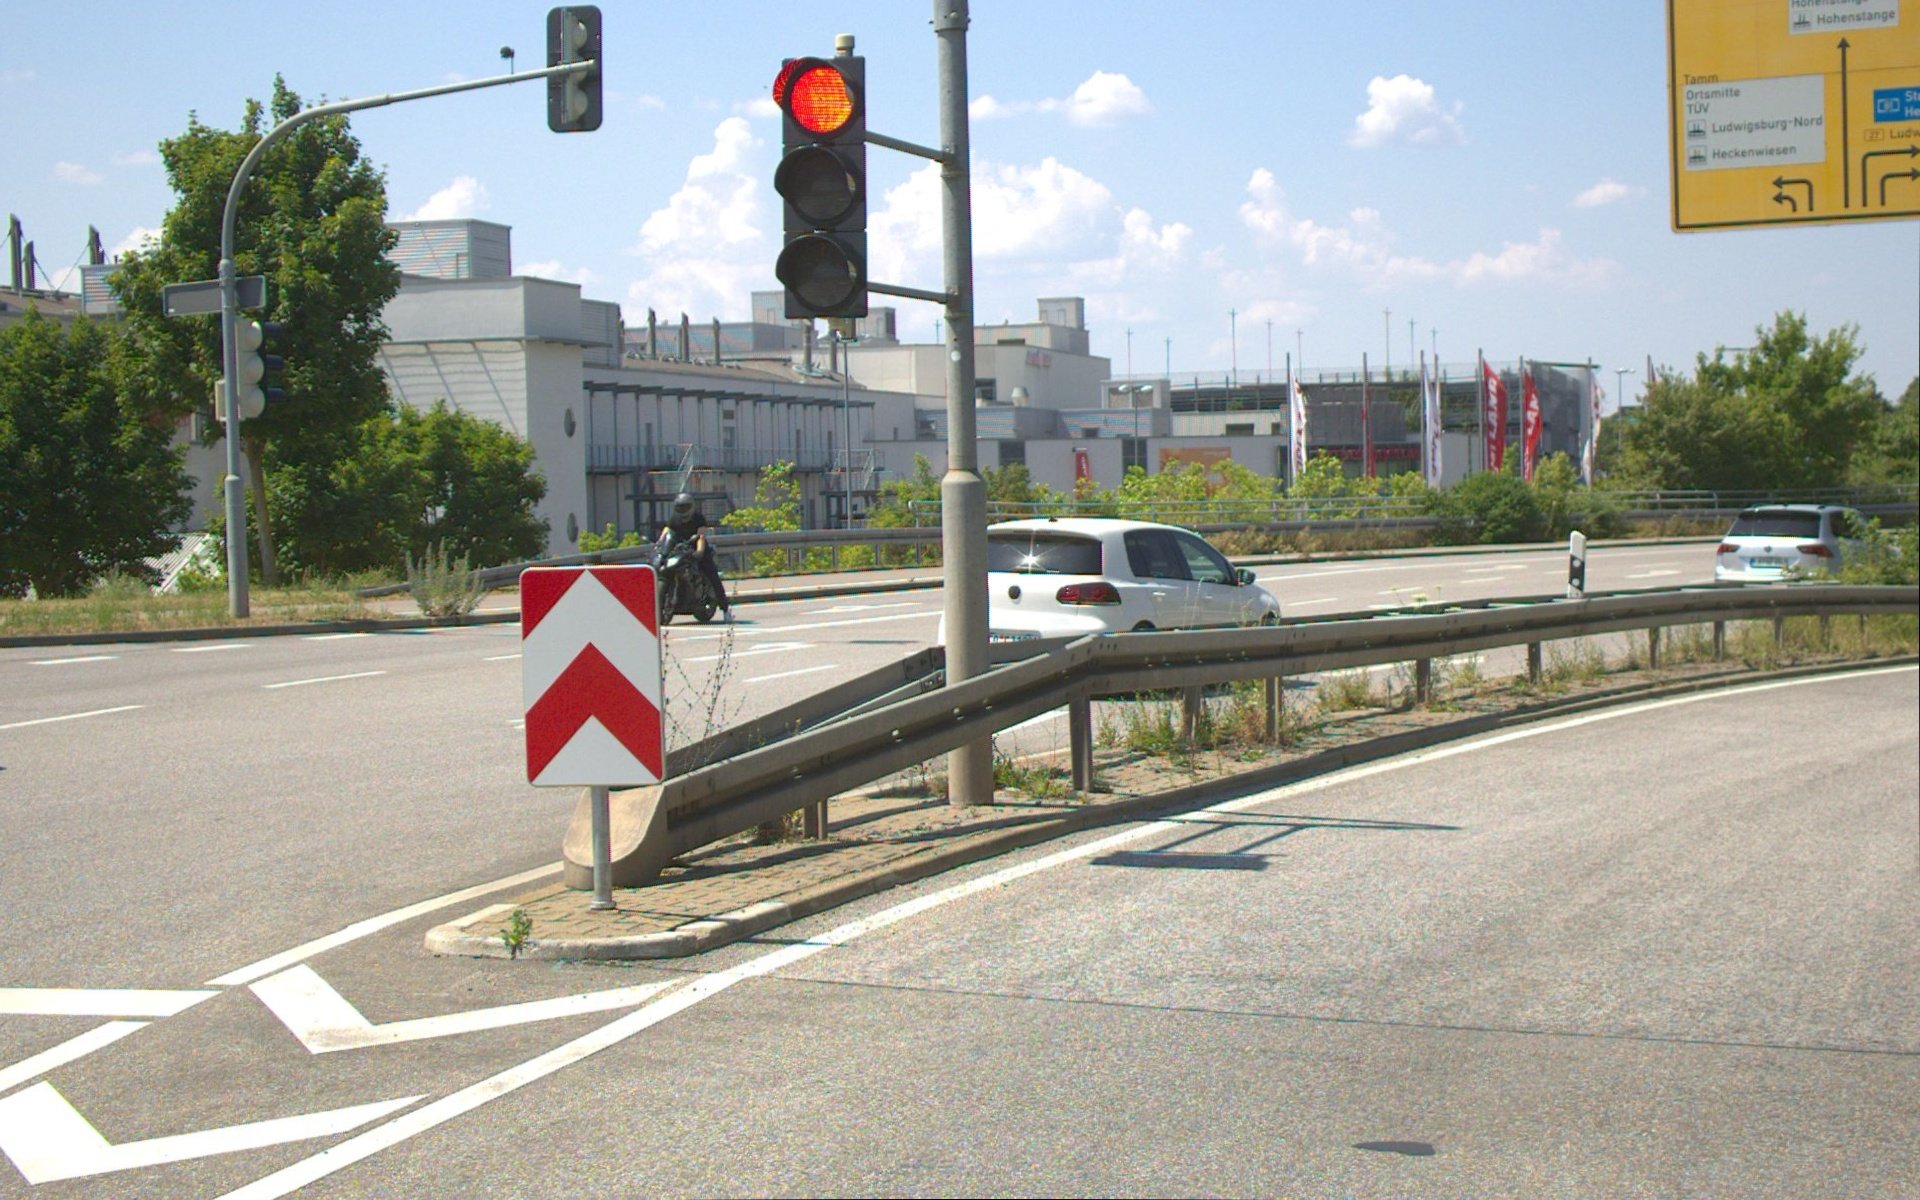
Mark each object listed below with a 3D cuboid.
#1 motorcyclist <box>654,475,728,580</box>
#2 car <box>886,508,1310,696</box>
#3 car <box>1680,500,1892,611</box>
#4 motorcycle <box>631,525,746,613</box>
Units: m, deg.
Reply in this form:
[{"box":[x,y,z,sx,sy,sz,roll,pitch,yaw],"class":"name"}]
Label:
[{"box":[-3.421,-0.920,43.747,0.675,1.298,0.723,-2,1,19],"class":"motorcyclist"},{"box":[1.273,-0.025,29.654,1.997,1.481,4.129,1,1,29],"class":"car"},{"box":[12.090,-0.669,50.116,1.996,1.500,4.390,-1,1,27],"class":"car"},{"box":[-3.433,-0.401,43.690,0.563,1.076,2.282,-1,1,19],"class":"motorcycle"}]
